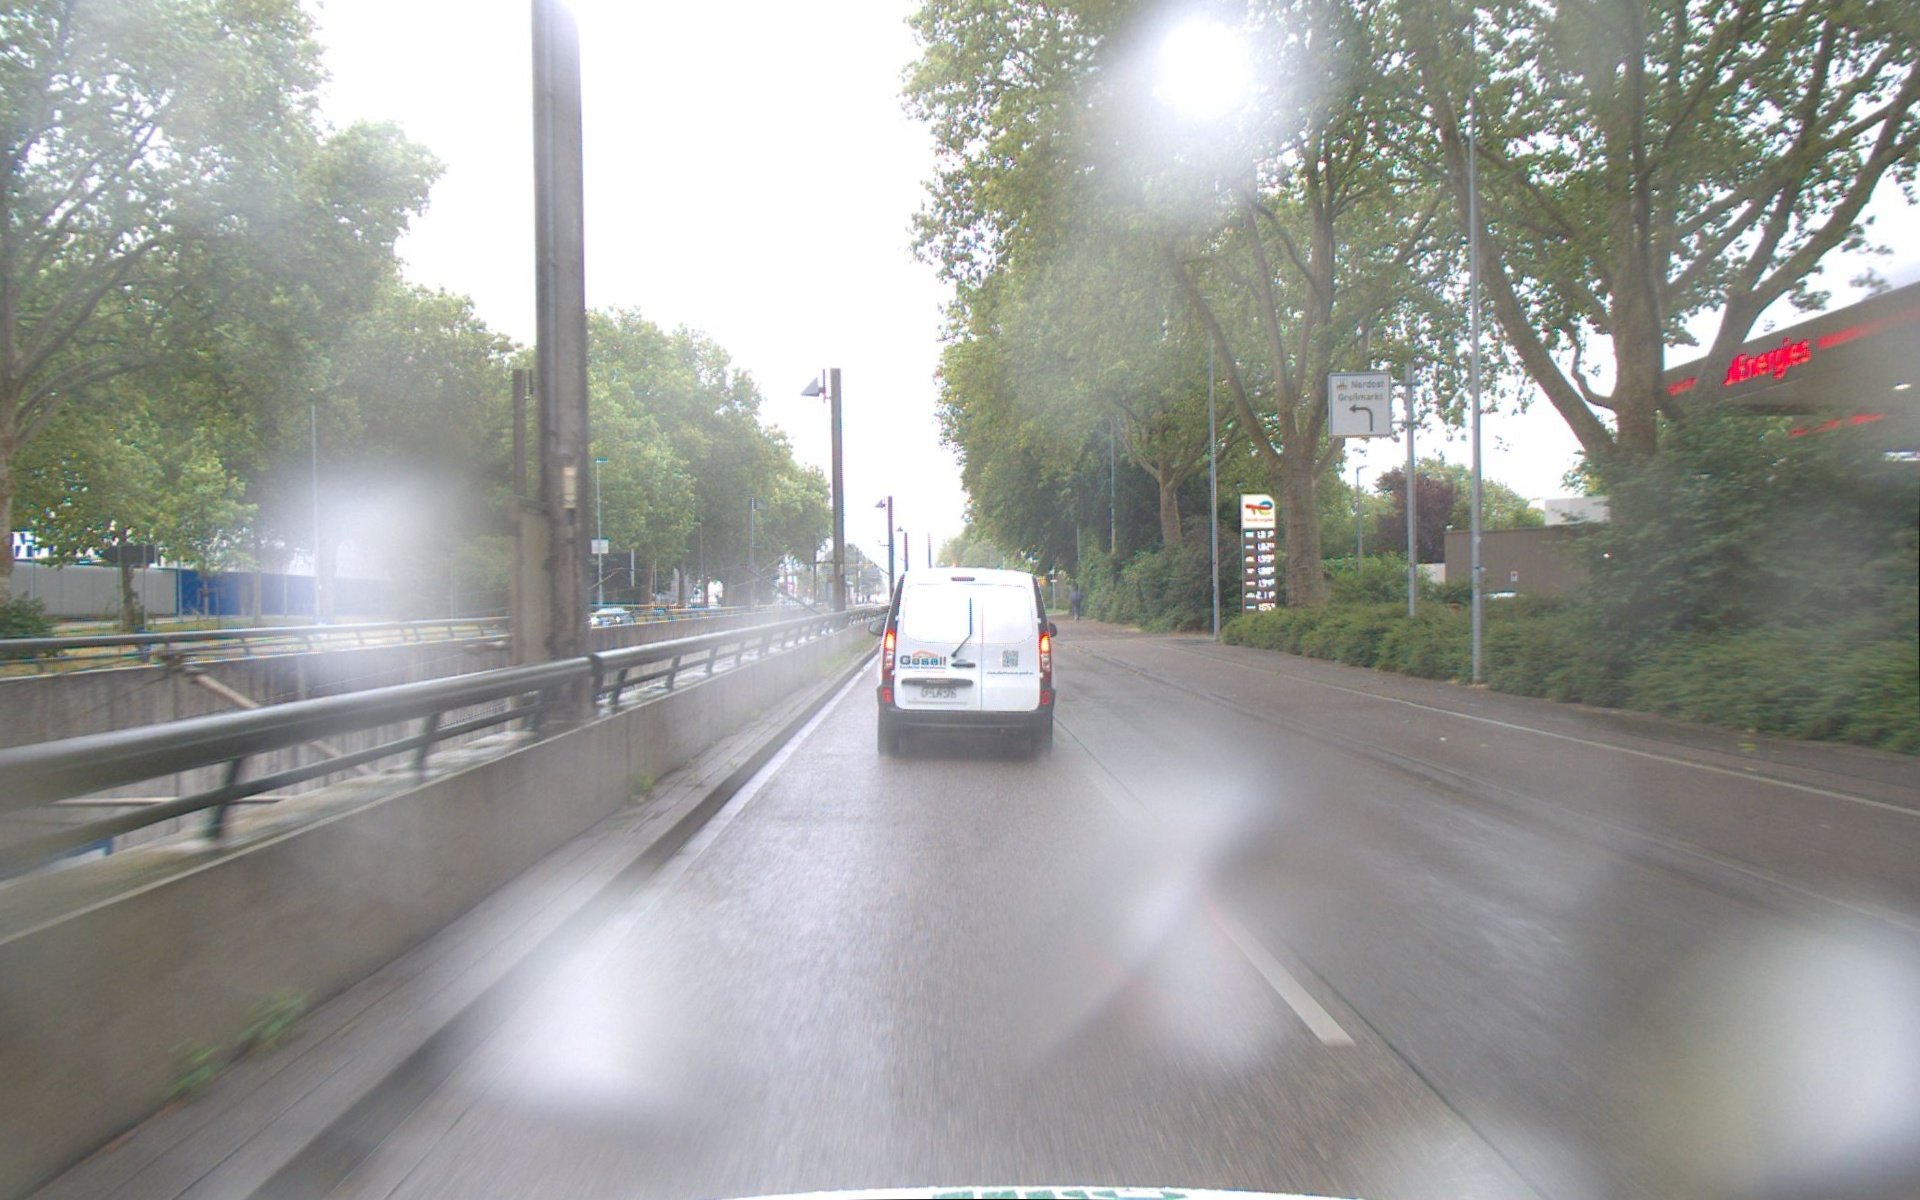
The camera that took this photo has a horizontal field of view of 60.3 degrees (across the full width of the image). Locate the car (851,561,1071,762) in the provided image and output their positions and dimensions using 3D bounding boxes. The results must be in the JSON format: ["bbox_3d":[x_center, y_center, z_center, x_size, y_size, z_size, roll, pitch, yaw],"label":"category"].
[{"bbox_3d":[-0.026,0.563,17.232,1.984,1.806,4.273,1,0,-1],"label":"car"}]

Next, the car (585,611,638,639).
[{"bbox_3d":[-19.280,1.367,91.697,1.952,1.428,3.795,-1,0,3],"label":"car"}]

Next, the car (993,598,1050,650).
[{"bbox_3d":[2.214,0.838,59.246,1.952,1.780,4.001,1,0,2],"label":"car"}]

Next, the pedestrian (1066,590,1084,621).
[{"bbox_3d":[6.420,0.291,92.283,0.947,1.732,1.141,0,0,0],"label":"pedestrian"}]
